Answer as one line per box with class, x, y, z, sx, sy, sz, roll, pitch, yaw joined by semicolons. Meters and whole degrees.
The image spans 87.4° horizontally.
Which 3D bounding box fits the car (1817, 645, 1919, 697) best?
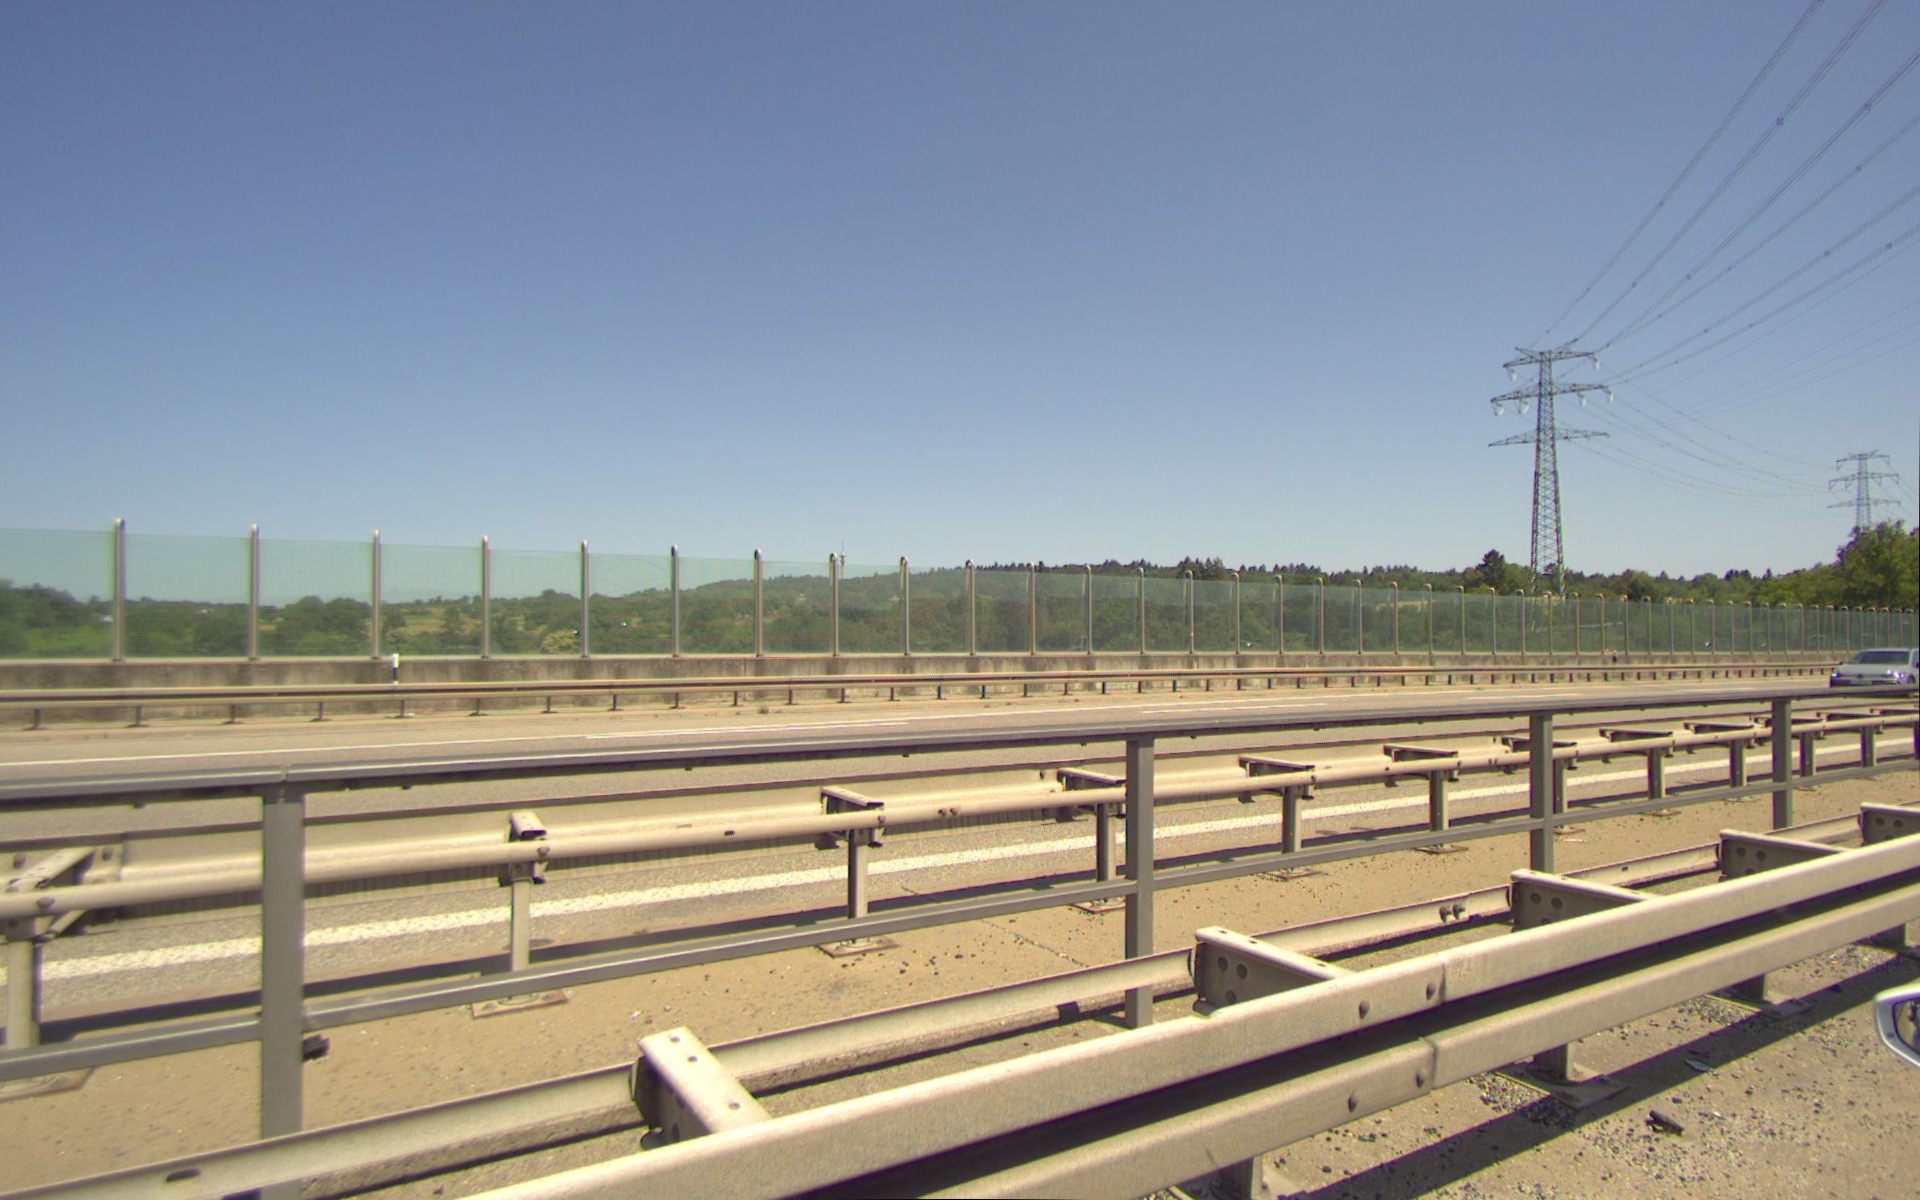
car;27.716;2.081;30.042;4.335;1.461;1.863;2;-3;-31
